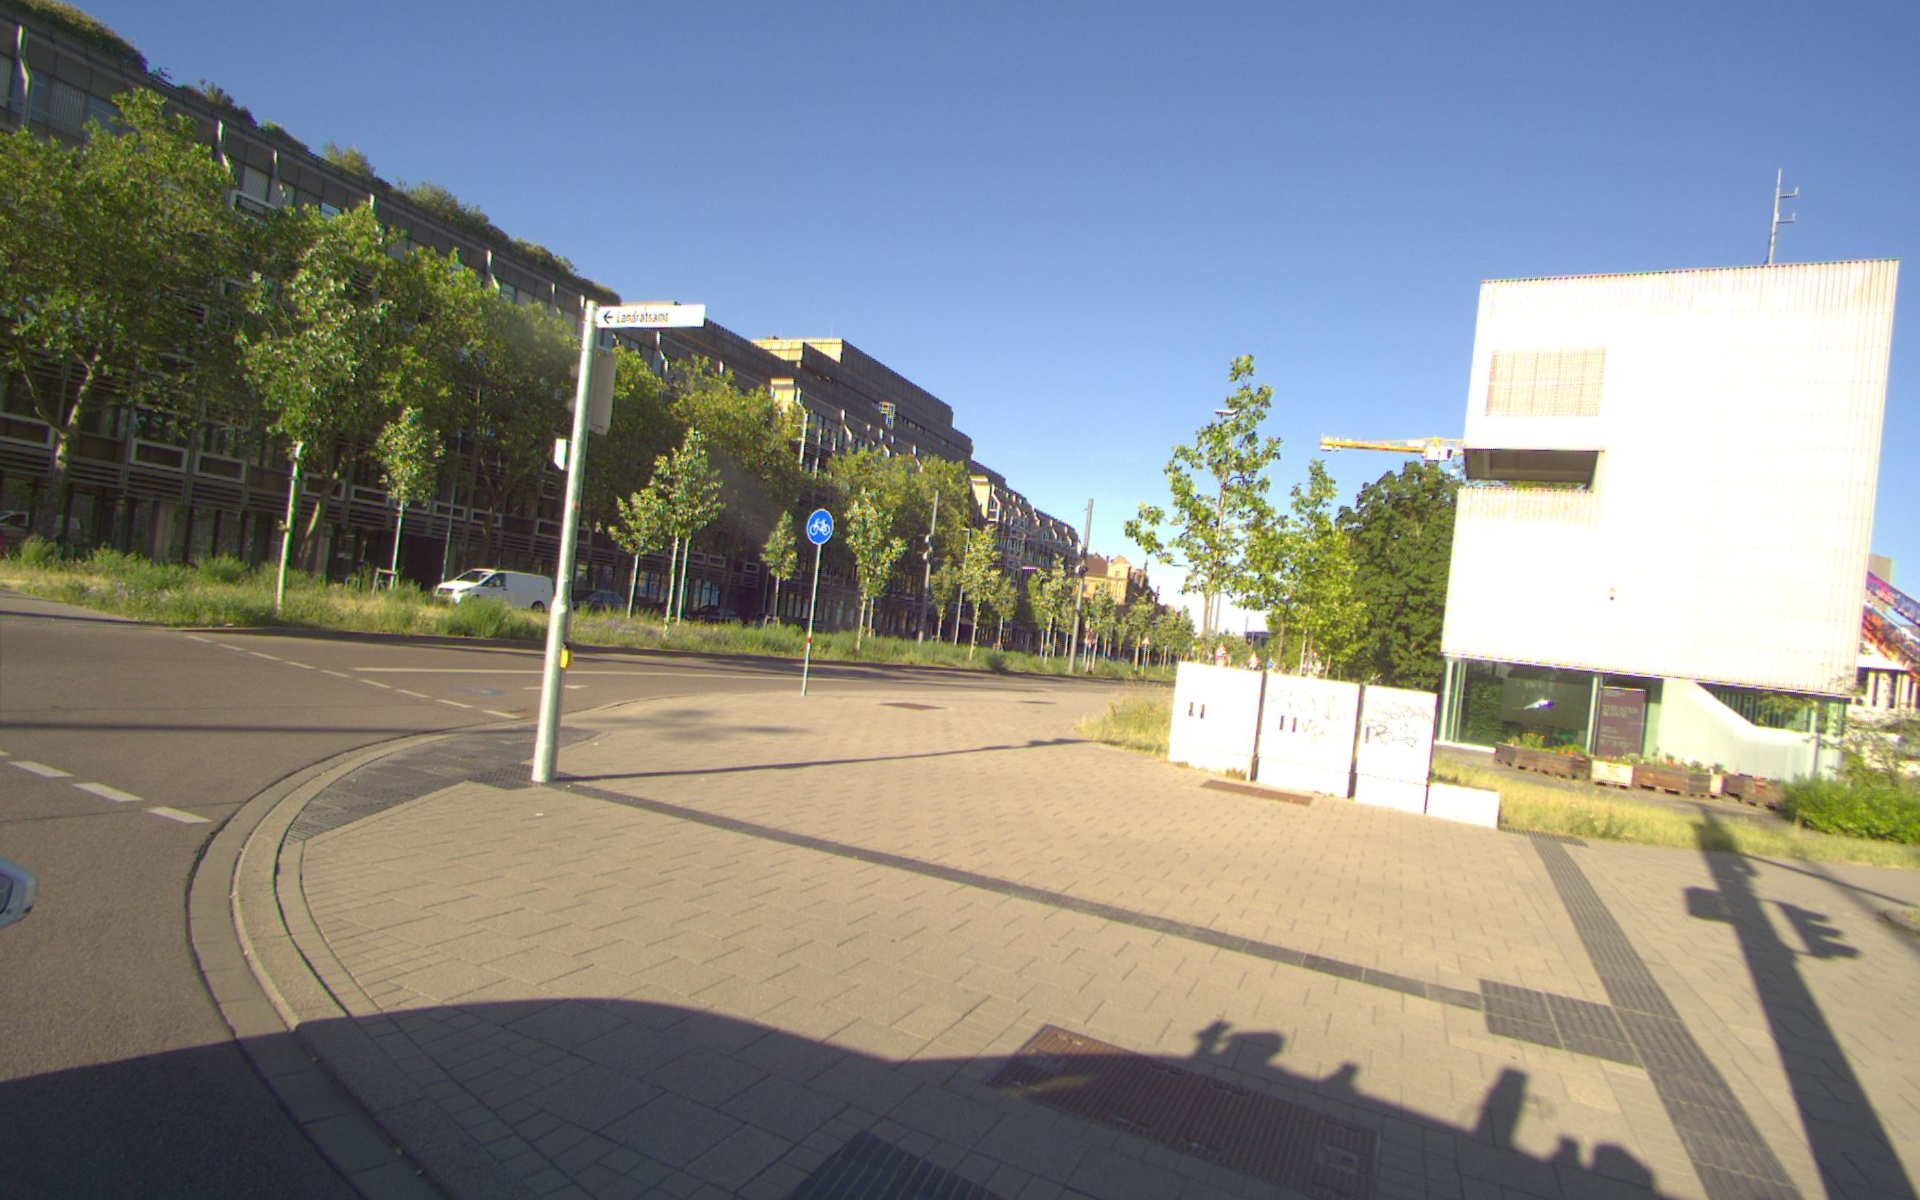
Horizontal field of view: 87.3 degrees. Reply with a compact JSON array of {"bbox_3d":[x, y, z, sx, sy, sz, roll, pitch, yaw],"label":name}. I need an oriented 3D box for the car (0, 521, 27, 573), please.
[{"bbox_3d":[-30.160,-1.774,29.336,1.814,1.503,3.878,3,-3,26],"label":"car"}]

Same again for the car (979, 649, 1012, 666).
[{"bbox_3d":[3.491,5.604,97.798,1.687,1.469,3.573,3,-4,28],"label":"car"}]

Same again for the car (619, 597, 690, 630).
[{"bbox_3d":[-19.325,0.895,63.795,1.965,1.538,3.998,7,-2,27],"label":"car"}]

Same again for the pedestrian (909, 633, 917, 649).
[{"bbox_3d":[-4.779,4.207,102.619,0.654,1.550,0.649,7,-1,-7],"label":"pedestrian"}]

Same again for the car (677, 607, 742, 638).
[{"bbox_3d":[-17.109,1.554,68.951,1.718,1.575,4.625,8,-2,23],"label":"car"}]

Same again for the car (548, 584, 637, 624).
[{"bbox_3d":[-21.324,0.294,58.636,1.963,1.699,4.872,8,-2,22],"label":"car"}]

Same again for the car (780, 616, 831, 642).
[{"bbox_3d":[-12.265,2.327,79.937,1.833,1.614,4.278,5,-3,25],"label":"car"}]

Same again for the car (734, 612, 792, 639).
[{"bbox_3d":[-14.659,1.916,75.096,1.883,1.651,4.361,4,-3,26],"label":"car"}]

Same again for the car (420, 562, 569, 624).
[{"bbox_3d":[-20.102,-0.229,43.768,2.226,2.036,5.710,4,-3,24],"label":"car"}]
